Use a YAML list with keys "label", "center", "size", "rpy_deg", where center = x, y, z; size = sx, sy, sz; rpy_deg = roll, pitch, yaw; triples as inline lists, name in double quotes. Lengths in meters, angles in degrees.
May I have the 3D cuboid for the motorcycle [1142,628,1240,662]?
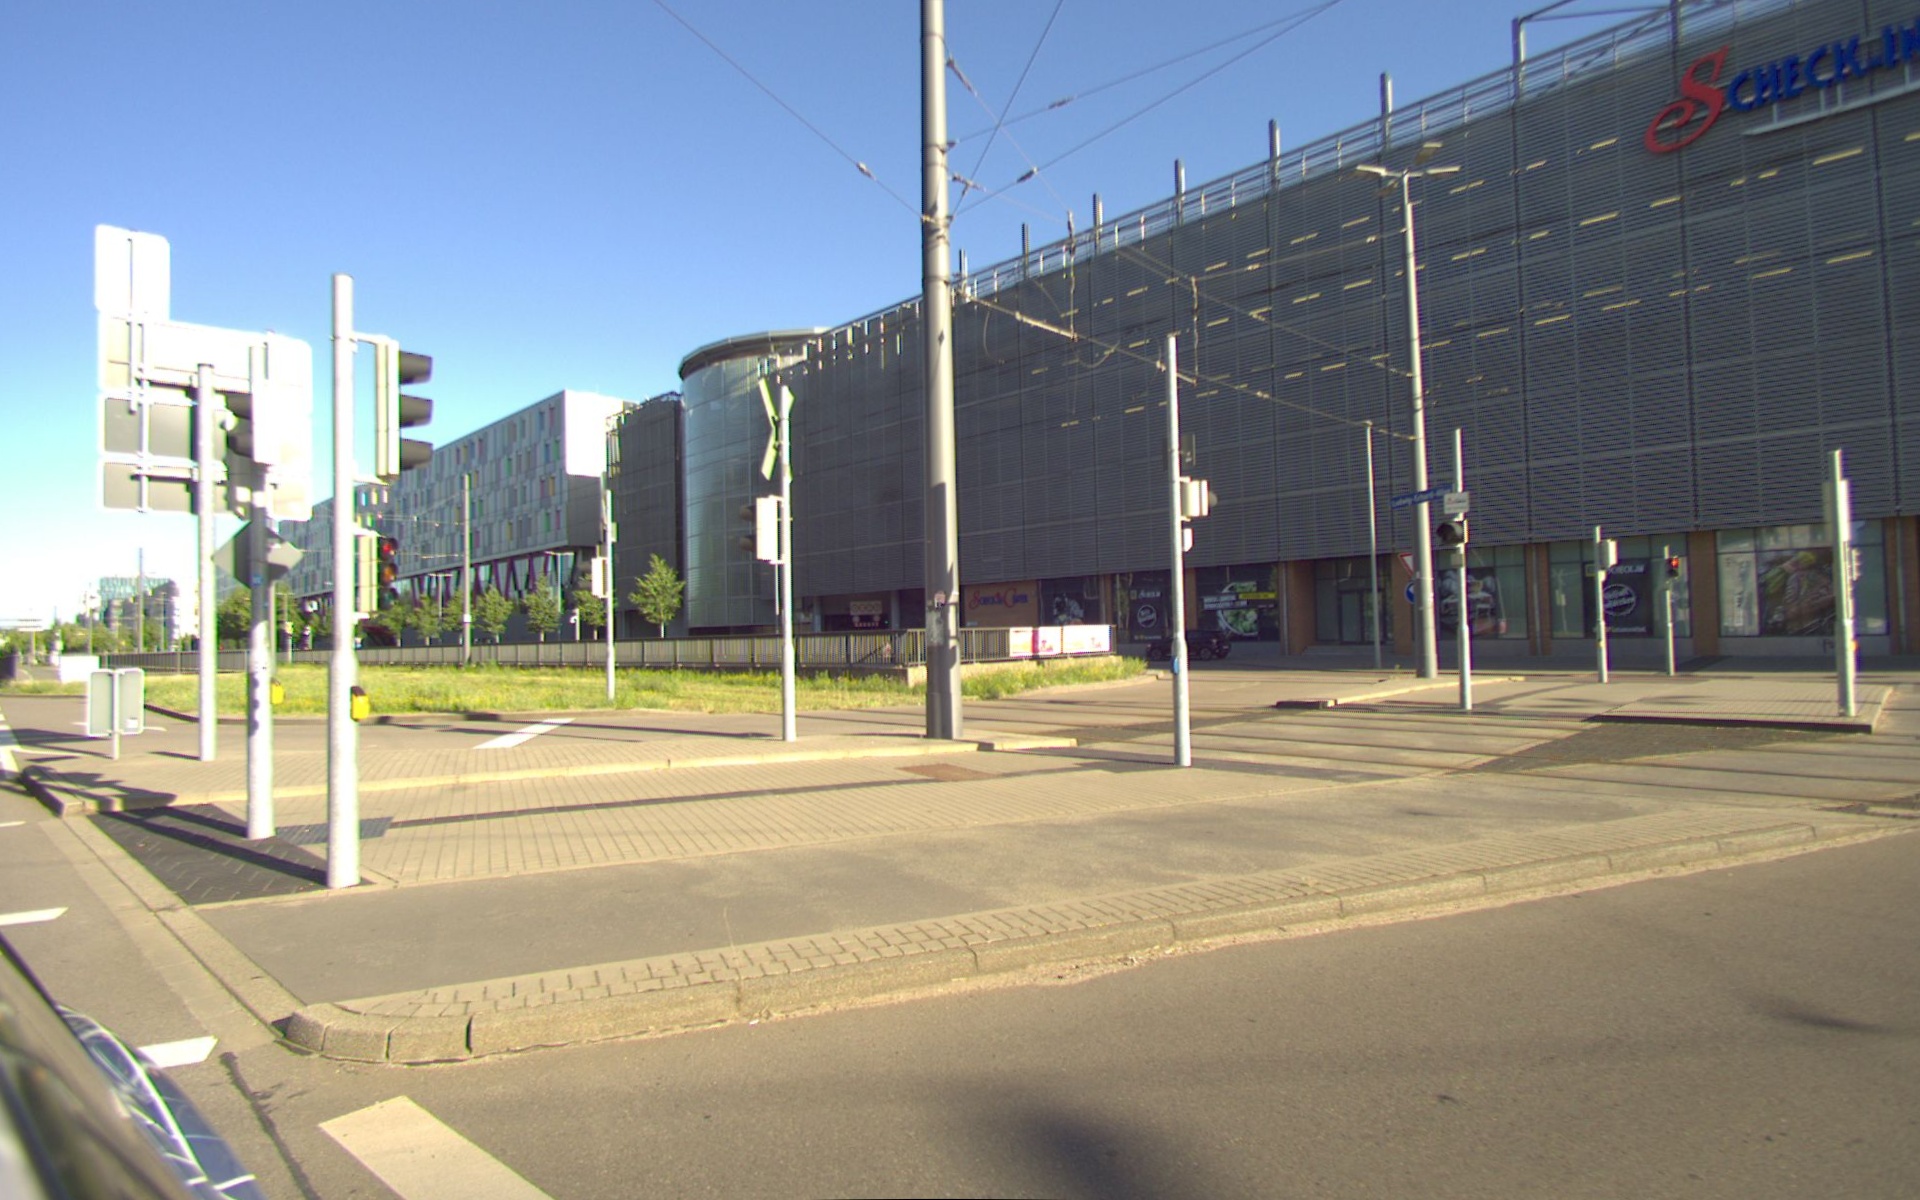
- label: "motorcycle"
  center: [10.776, 2.133, 47.427]
  size: [1.970, 1.464, 4.003]
  rpy_deg: [0, -3, -44]
